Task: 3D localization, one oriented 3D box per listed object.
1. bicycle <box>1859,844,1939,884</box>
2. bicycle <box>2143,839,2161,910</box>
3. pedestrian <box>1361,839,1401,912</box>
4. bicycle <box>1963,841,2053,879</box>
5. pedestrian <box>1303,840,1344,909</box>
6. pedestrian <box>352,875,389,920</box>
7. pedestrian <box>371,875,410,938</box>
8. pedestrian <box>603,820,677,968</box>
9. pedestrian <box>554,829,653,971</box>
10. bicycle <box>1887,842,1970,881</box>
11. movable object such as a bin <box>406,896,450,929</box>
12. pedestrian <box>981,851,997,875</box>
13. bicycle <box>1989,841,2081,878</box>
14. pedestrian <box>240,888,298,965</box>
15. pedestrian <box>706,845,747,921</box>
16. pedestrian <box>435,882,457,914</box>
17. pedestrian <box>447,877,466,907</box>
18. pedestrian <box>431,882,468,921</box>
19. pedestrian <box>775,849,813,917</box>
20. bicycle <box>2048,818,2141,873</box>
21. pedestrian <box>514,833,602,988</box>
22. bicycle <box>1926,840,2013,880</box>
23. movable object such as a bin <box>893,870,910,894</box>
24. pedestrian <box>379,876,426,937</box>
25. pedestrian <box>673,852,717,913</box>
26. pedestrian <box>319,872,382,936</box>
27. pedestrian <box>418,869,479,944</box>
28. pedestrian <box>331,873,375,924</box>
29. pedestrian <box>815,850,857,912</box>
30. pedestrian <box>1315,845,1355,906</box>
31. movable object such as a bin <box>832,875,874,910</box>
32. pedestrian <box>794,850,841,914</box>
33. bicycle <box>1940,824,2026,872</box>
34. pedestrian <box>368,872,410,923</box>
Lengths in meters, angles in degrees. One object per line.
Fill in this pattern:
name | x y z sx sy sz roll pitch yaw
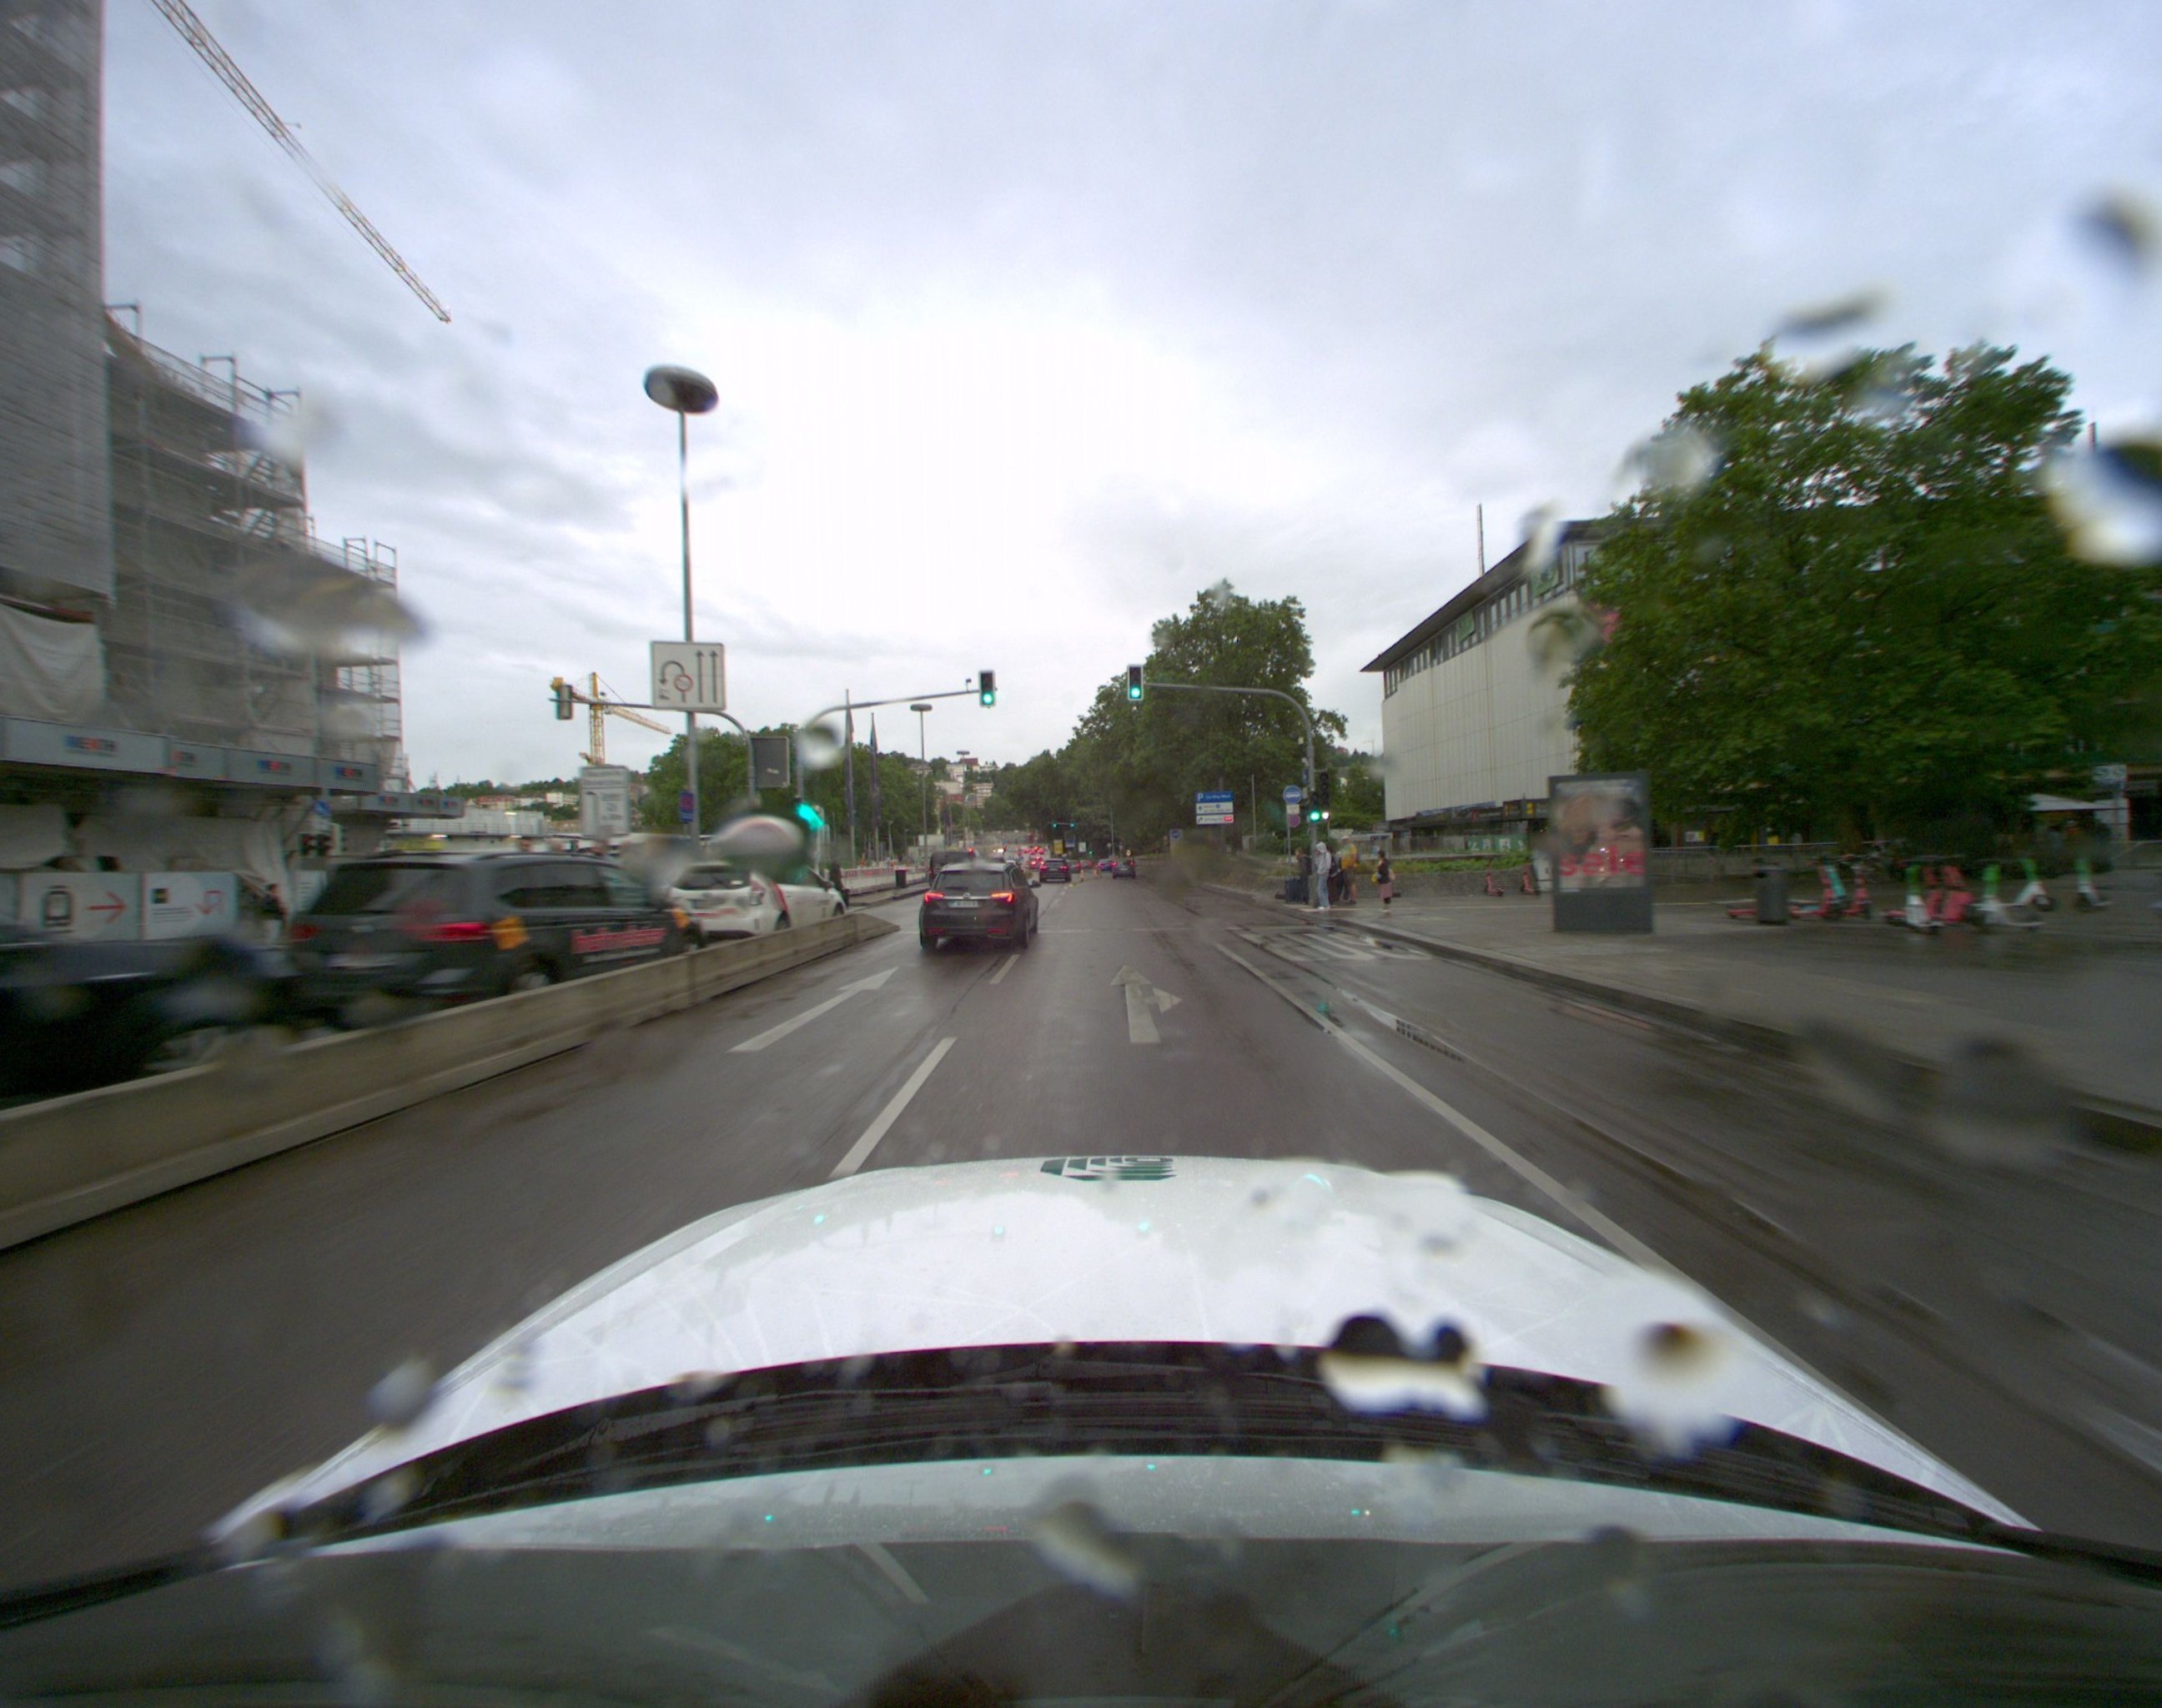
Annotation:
bicycle | 24.730 0.297 24.672 0.612 1.119 2.001 -3 -1 10
bicycle | 20.086 0.313 14.270 1.981 1.237 0.618 -3 -1 3
pedestrian | 7.594 0.533 20.633 0.542 1.805 0.751 -1 -1 -26
bicycle | 27.645 0.168 24.345 0.612 1.055 2.001 -3 -1 10
pedestrian | 6.483 0.547 21.756 0.746 1.805 0.706 -2 -1 -13
pedestrian | -31.022 1.884 35.577 1.030 1.881 0.829 -1 -2 -26
pedestrian | -20.805 1.581 24.540 0.695 1.841 0.528 -2 -1 0
pedestrian | -6.266 0.544 11.613 0.526 2.014 0.890 -1 -1 0
pedestrian | -7.172 0.659 12.236 0.825 2.014 1.034 -2 -1 40
bicycle | 25.655 0.227 24.702 0.612 1.102 2.030 -3 -1 10
movable object such as a bin | -20.270 1.807 25.297 0.756 0.970 0.721 -2 -1 0
pedestrian | -7.893 0.792 69.865 1.016 2.014 0.840 -2 -1 17
bicycle | 28.387 0.146 24.291 0.612 1.026 2.001 -3 -1 10
pedestrian | -20.131 1.784 20.204 0.636 1.841 0.775 -2 -1 2
pedestrian | -8.358 0.676 19.226 0.581 1.735 0.757 -2 -1 2
pedestrian | -37.764 2.611 48.419 0.653 1.881 0.806 -3 -2 32
pedestrian | -39.951 2.407 52.120 0.487 1.881 0.801 -3 -2 32
pedestrian | -28.046 2.104 36.164 0.825 1.663 1.034 -3 -2 32
pedestrian | -8.146 0.800 23.112 0.829 1.886 0.689 -2 0 -8
bicycle | 31.574 -0.244 25.413 0.612 1.634 2.001 -1 0 10
pedestrian | -7.117 0.746 11.118 0.619 2.014 0.836 -1 -1 1
bicycle | 26.530 0.174 24.372 0.612 1.102 2.030 -3 -1 10
movable object such as a bin | -8.883 1.372 40.325 0.669 1.161 0.766 1 -1 -5
pedestrian | -21.011 1.600 25.241 0.695 1.841 0.878 0 -1 0
pedestrian | -12.334 0.893 26.065 0.829 1.881 1.029 -1 -1 4
pedestrian | -21.964 1.485 24.498 0.974 1.841 1.047 -2 -1 23
pedestrian | -14.491 1.183 18.679 0.710 1.664 0.837 -2 -1 2
pedestrian | -27.522 1.673 30.778 0.825 1.881 1.034 -3 -2 33
pedestrian | -7.561 0.831 25.171 0.995 1.886 0.687 -2 -1 24
pedestrian | 7.205 0.609 23.152 0.871 1.691 0.758 -2 -1 2
movable object such as a bin | -7.223 1.221 25.827 0.995 1.076 0.753 -2 -1 24
pedestrian | -7.907 0.827 24.485 0.995 1.886 0.822 -2 -1 24
bicycle | 30.731 -0.194 27.803 0.788 1.562 2.137 -1 0 10
pedestrian | -26.878 1.682 31.620 0.825 1.881 1.034 -3 -2 33
